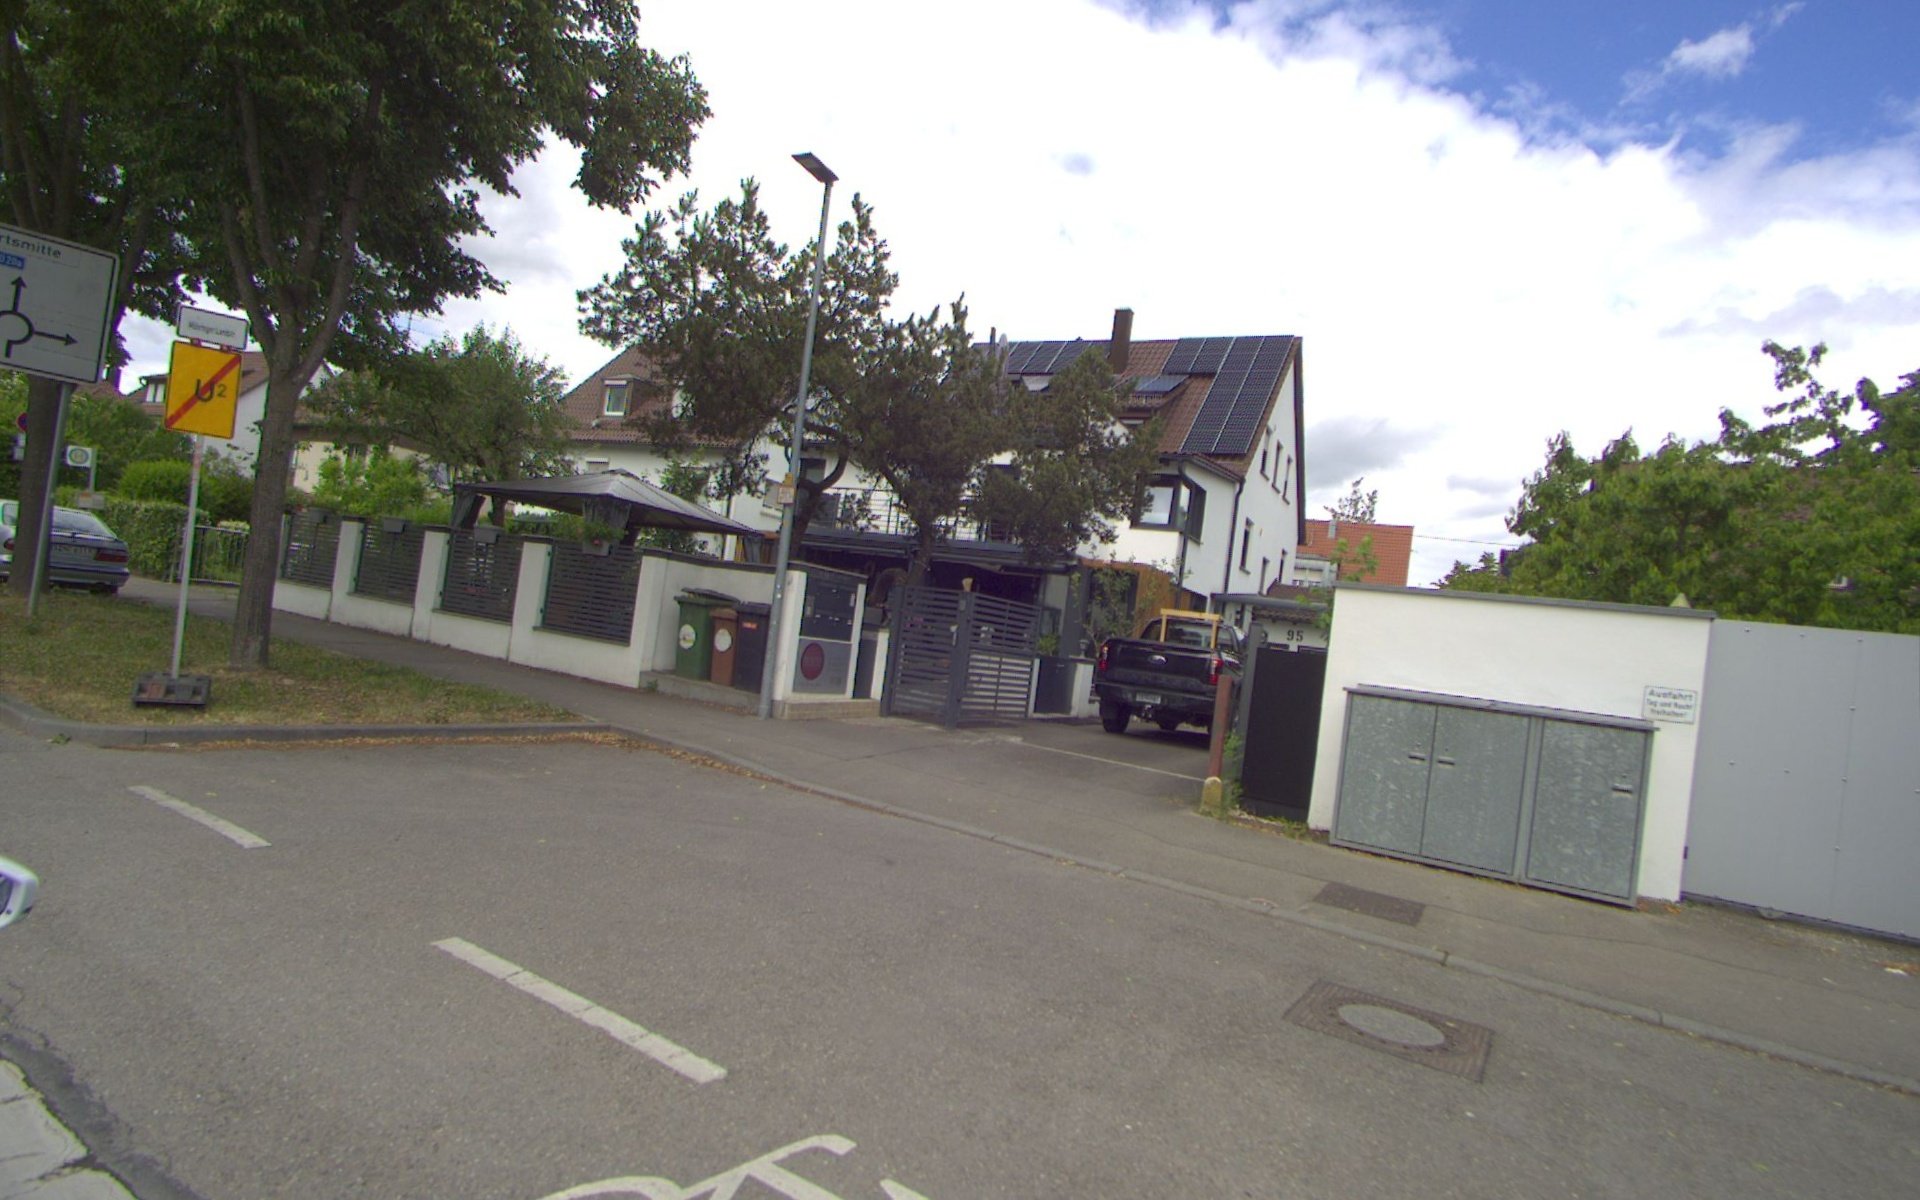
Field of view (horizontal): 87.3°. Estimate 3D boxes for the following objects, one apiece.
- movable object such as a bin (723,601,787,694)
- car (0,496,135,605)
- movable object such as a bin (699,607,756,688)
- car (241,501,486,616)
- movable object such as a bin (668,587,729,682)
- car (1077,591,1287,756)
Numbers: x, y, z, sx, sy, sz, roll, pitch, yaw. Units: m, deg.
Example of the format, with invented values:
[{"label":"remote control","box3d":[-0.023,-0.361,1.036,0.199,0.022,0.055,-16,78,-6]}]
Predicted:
[{"label":"movable object such as a bin","box3d":[-2.434,0.572,11.963,0.447,1.034,0.437,7,0,33]},{"label":"car","box3d":[-14.912,-0.856,15.824,4.315,1.393,1.614,5,-2,32]},{"label":"movable object such as a bin","box3d":[-2.854,0.587,12.362,0.389,0.931,0.437,7,0,33]},{"label":"car","box3d":[-12.807,-0.829,21.867,1.966,1.844,3.996,7,-2,29]},{"label":"movable object such as a bin","box3d":[-3.285,0.442,12.636,0.447,1.123,0.437,7,0,33]},{"label":"car","box3d":[3.658,1.162,15.648,2.012,1.925,5.201,6,-2,24]}]
